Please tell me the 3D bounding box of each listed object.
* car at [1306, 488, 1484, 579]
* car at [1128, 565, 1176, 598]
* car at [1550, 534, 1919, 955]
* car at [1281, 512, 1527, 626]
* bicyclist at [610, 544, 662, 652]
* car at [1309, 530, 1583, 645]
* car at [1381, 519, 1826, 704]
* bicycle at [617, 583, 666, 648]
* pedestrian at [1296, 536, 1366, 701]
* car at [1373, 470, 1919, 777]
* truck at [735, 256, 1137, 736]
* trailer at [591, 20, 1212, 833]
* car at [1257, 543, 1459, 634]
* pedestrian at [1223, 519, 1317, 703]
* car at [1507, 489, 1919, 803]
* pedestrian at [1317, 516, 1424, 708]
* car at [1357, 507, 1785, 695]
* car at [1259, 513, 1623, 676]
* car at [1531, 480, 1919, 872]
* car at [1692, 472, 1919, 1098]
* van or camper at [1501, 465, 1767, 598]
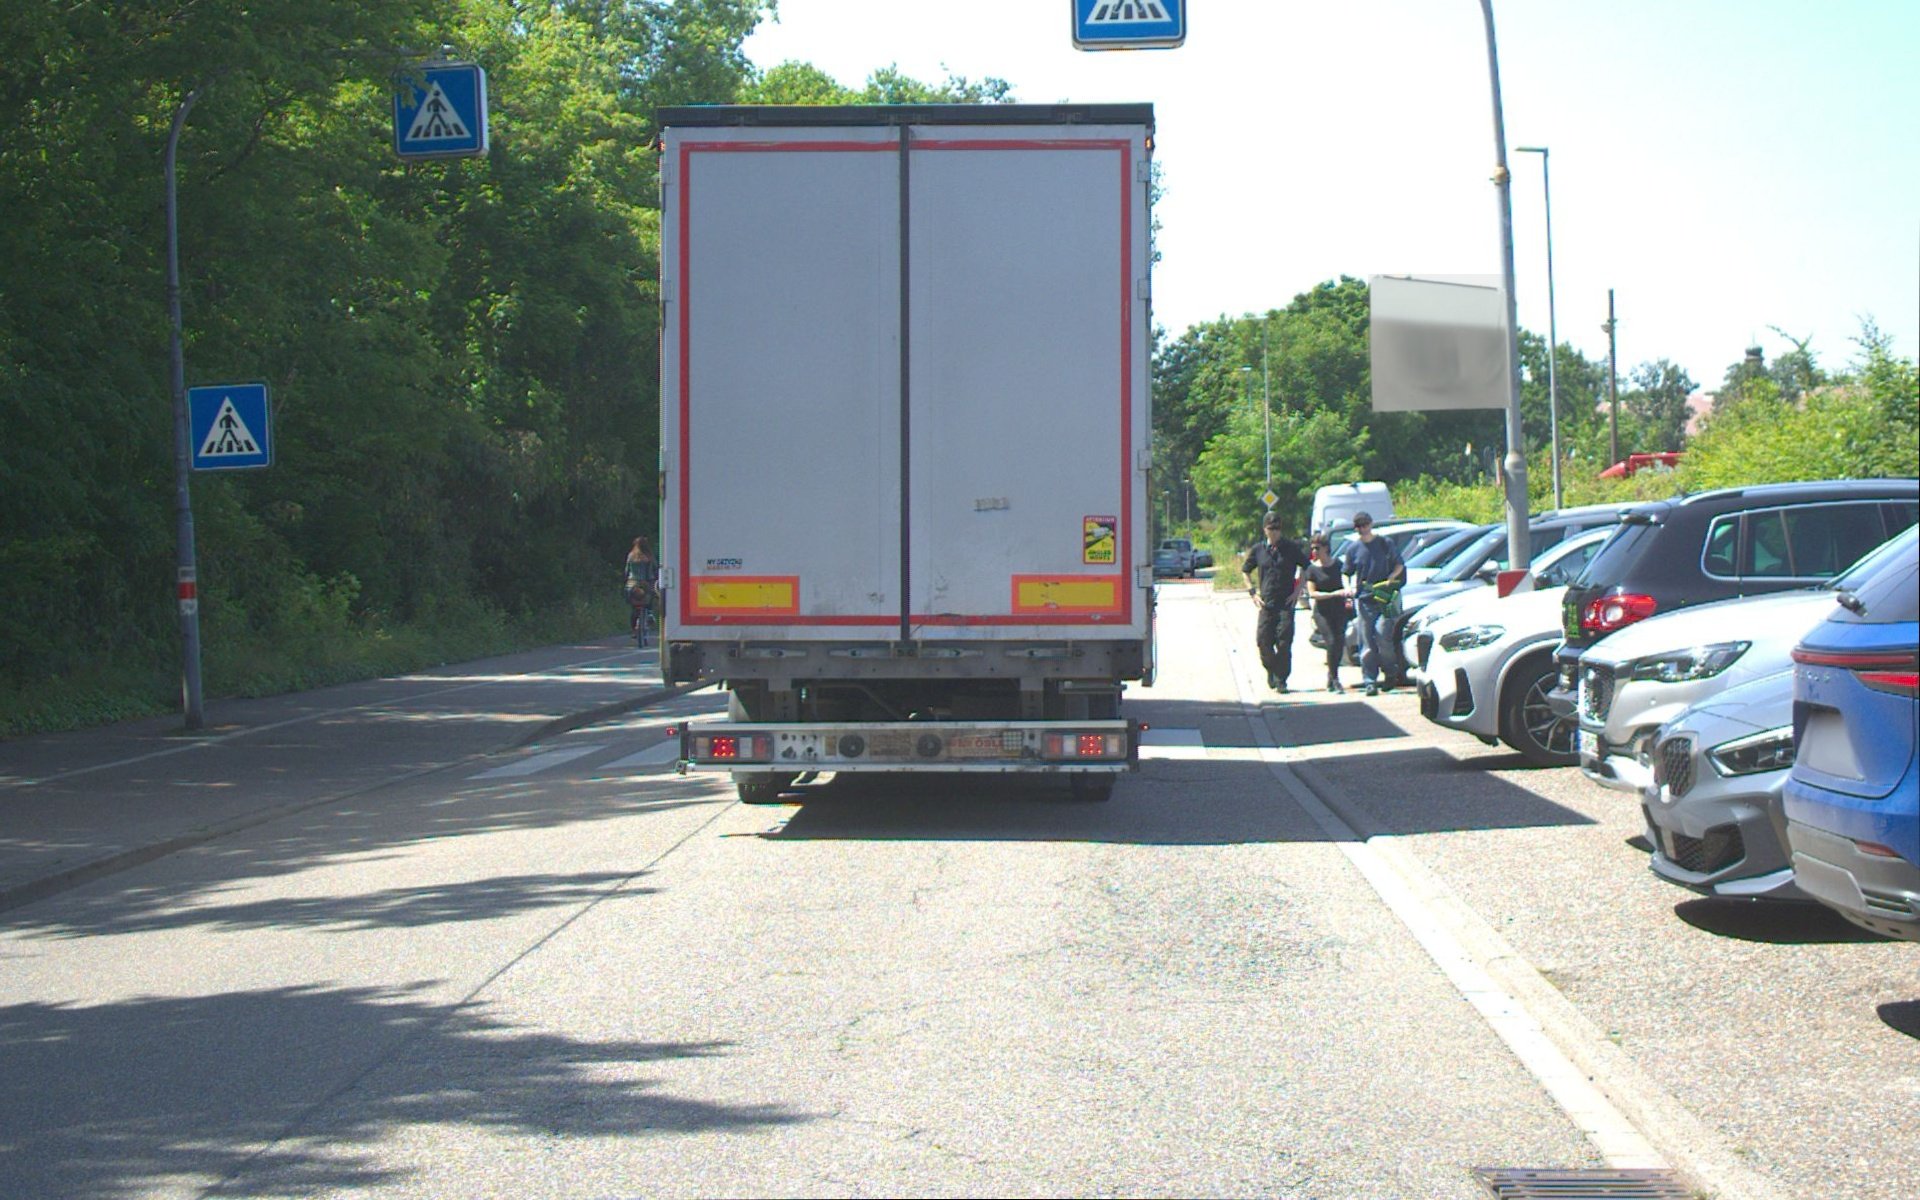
[{"bbox_3d":[10.185,-1.544,80.633,3.957,1.792,1.813,-4,-2,5],"label":"car"},{"bbox_3d":[8.942,-0.870,159.993,1.781,1.481,3.998,0,1,10],"label":"car"},{"bbox_3d":[4.505,0.460,12.957,4.129,1.434,1.815,-1,0,-7],"label":"car"},{"bbox_3d":[7.718,-0.545,59.996,3.956,1.759,1.813,-3,0,-1],"label":"car"},{"bbox_3d":[-5.319,-0.034,56.499,0.717,1.752,0.796,0,0,5],"label":"bicyclist"},{"bbox_3d":[7.578,-0.197,53.846,3.956,1.613,1.813,-2,0,-1],"label":"car"},{"bbox_3d":[6.056,0.107,32.747,3.957,1.475,1.813,-3,0,6],"label":"car"},{"bbox_3d":[-5.233,0.251,56.490,0.454,1.044,2.203,0,0,4],"label":"bicycle"},{"bbox_3d":[3.735,0.179,34.591,0.589,1.609,0.744,-4,0,7],"label":"pedestrian"},{"bbox_3d":[5.088,0.103,22.556,4.404,1.692,1.877,-4,0,-1],"label":"car"},{"bbox_3d":[-0.040,-0.840,29.916,3.114,3.712,6.413,0,1,3],"label":"truck"},{"bbox_3d":[-0.205,-0.958,23.175,3.113,4.088,11.537,0,1,1],"label":"trailer"},{"bbox_3d":[8.416,-0.246,72.943,3.956,1.663,1.813,-3,0,-1],"label":"car"},{"bbox_3d":[3.212,0.113,35.532,0.822,1.828,0.792,-4,0,7],"label":"pedestrian"},{"bbox_3d":[5.367,0.207,19.796,4.125,1.651,1.886,-2,0,2],"label":"car"},{"bbox_3d":[4.009,0.112,33.606,0.908,1.792,0.935,-4,0,7],"label":"pedestrian"},{"bbox_3d":[6.278,0.012,35.620,3.956,1.663,1.814,-3,0,-3],"label":"car"},{"bbox_3d":[5.775,-0.094,41.529,3.955,1.662,1.814,-3,3,-5],"label":"car"},{"bbox_3d":[4.914,0.275,15.731,4.236,1.648,1.900,-2,1,0],"label":"car"},{"bbox_3d":[4.456,0.371,9.891,4.238,1.628,1.823,-3,0,0],"label":"car"},{"bbox_3d":[18.714,-1.869,95.413,7.050,3.575,2.771,0,0,16],"label":"van or camper"}]
